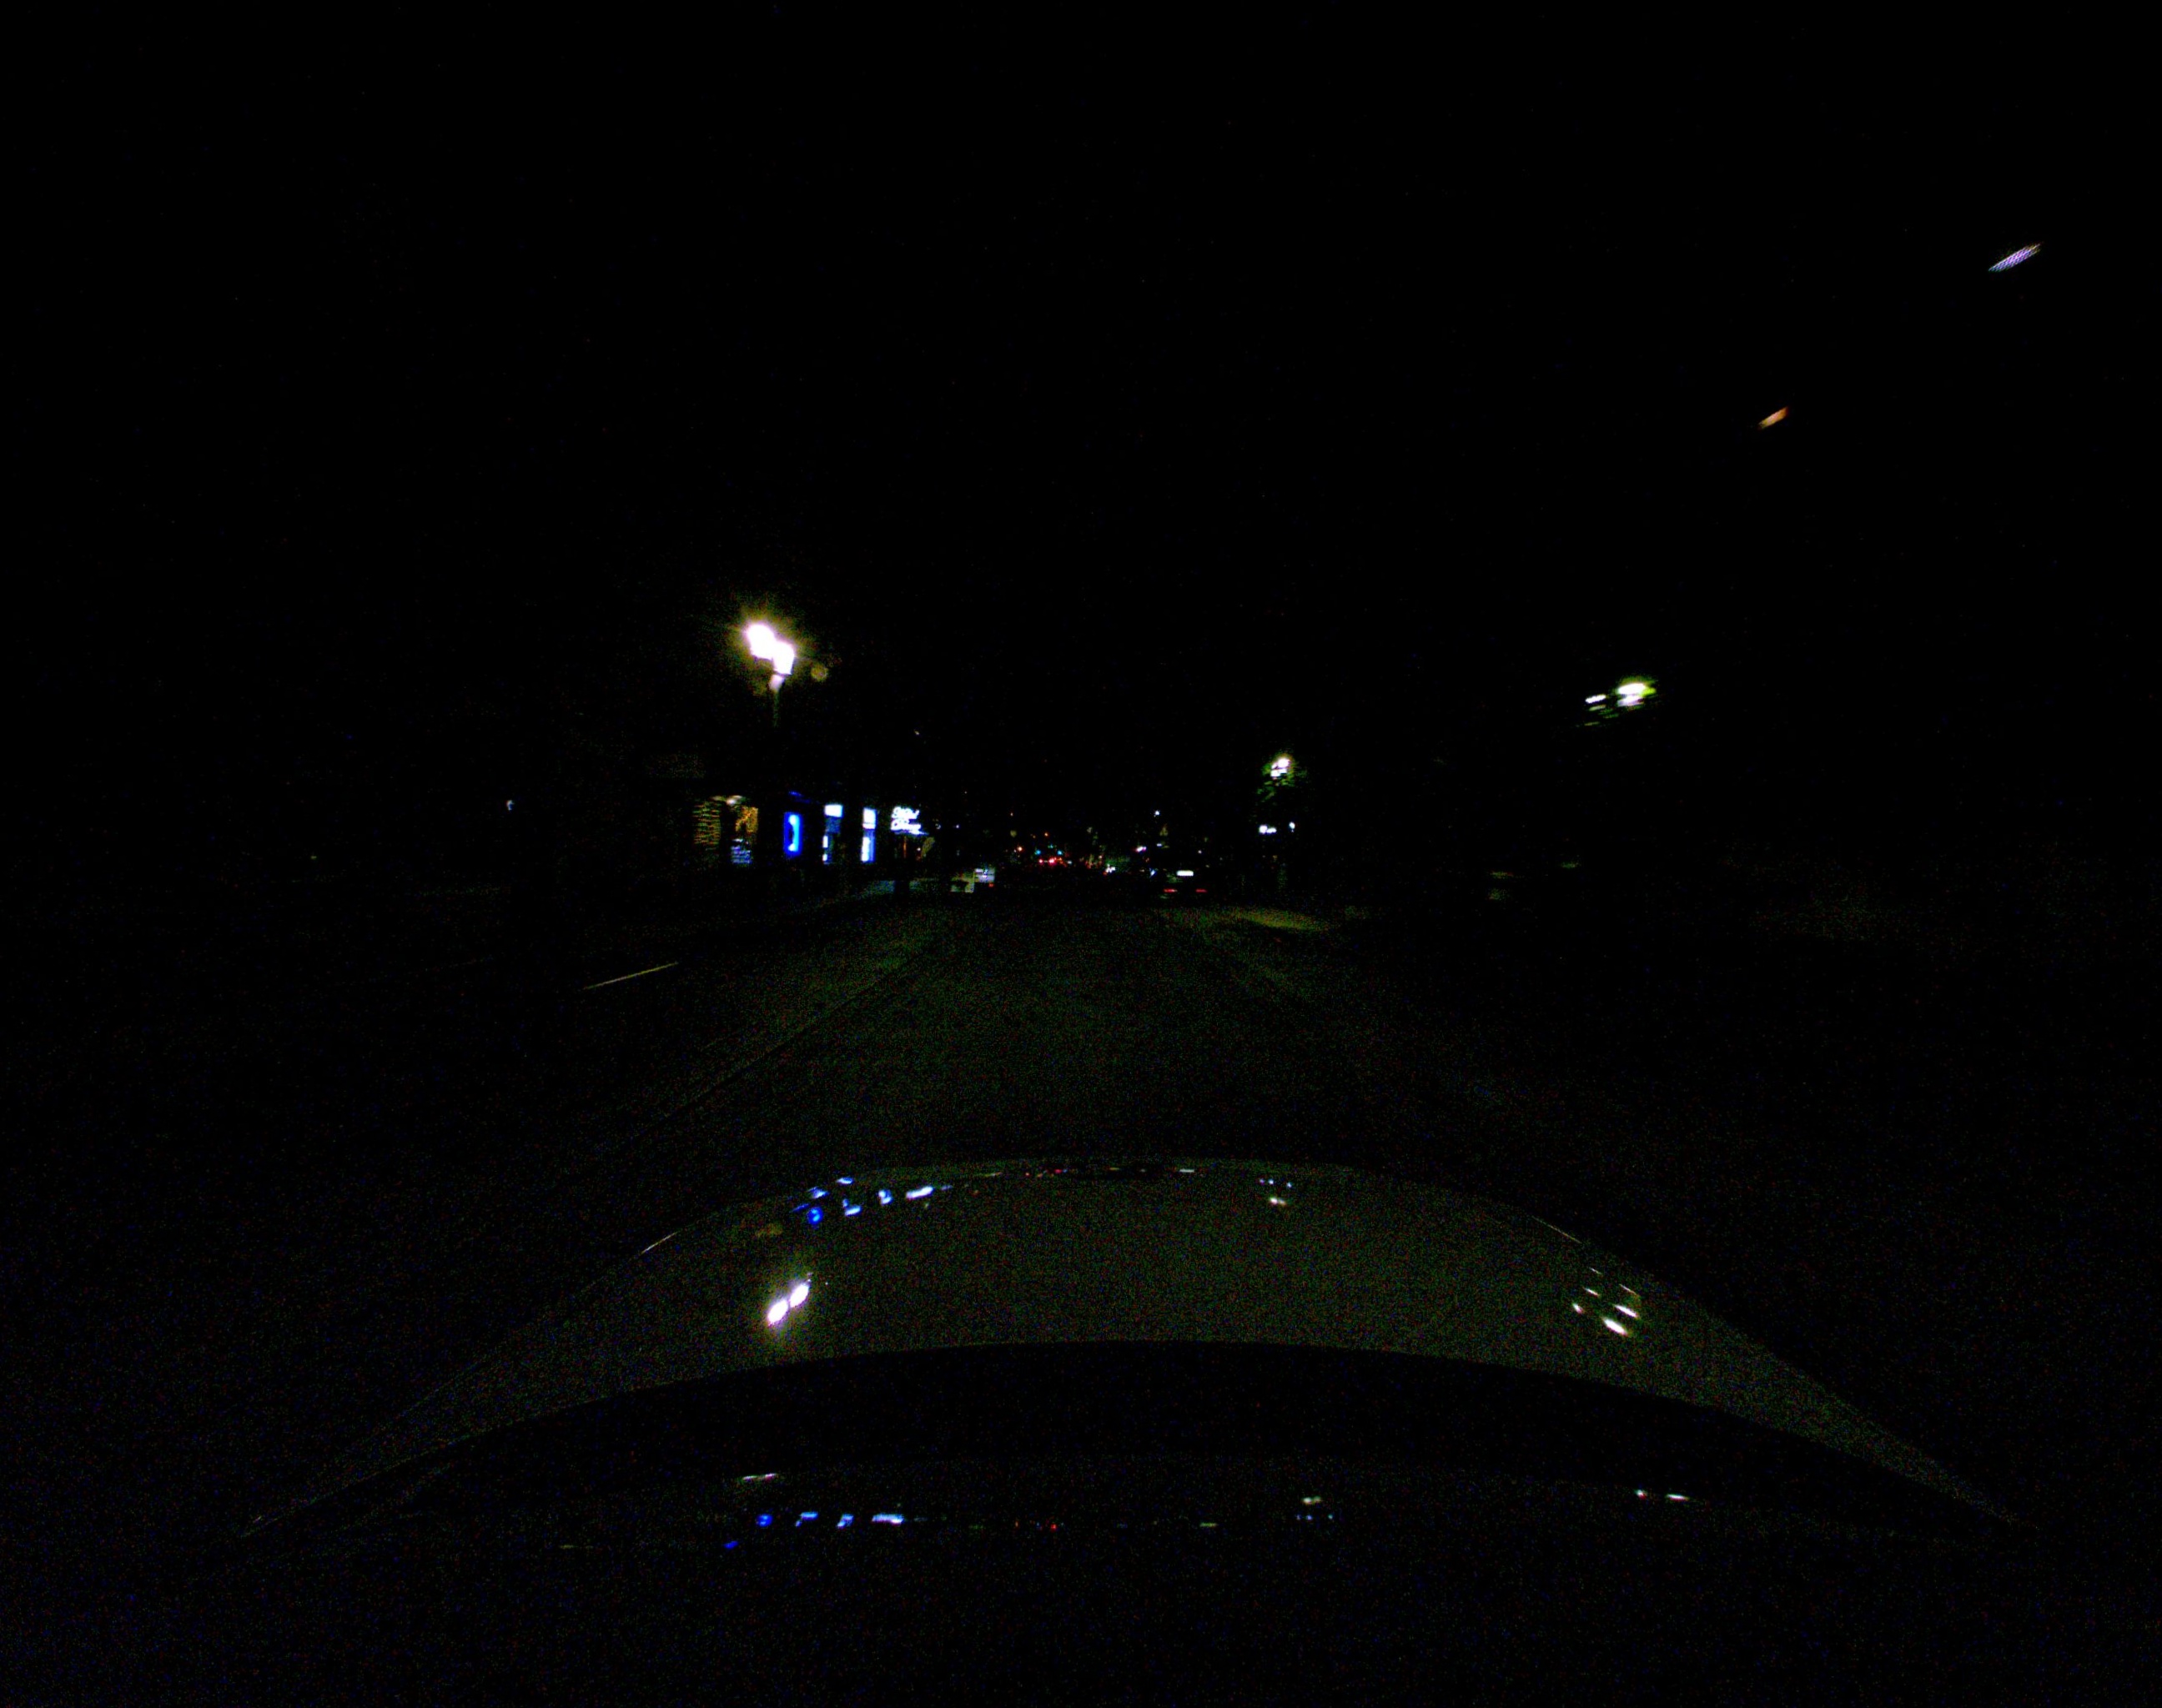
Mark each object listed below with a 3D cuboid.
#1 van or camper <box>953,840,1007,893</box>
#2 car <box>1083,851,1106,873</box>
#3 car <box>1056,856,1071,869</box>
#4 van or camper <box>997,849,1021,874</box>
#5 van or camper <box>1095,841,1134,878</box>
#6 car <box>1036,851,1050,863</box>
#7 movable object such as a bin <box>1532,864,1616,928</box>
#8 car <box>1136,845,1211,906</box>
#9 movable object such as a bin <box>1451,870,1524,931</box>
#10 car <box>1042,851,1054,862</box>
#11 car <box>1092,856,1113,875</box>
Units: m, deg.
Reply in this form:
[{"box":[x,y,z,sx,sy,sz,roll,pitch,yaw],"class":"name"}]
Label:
[{"box":[-4.143,0.486,33.897,1.862,2.011,4.257,3,0,-3],"class":"van or camper"},{"box":[1.168,0.698,71.661,1.834,1.901,3.843,1,0,-2],"class":"car"},{"box":[-2.161,0.975,99.452,1.834,1.542,3.843,1,0,-2],"class":"car"},{"box":[-6.072,0.634,68.391,1.933,1.989,3.837,1,0,-6],"class":"van or camper"},{"box":[2.119,0.366,53.009,2.104,2.317,4.257,0,0,-3],"class":"van or camper"},{"box":[-5.715,0.429,121.622,1.989,1.823,3.996,1,0,-3],"class":"car"},{"box":[11.309,0.944,18.728,1.257,1.419,1.117,0,-1,-2],"class":"movable object such as a bin"},{"box":[2.965,0.653,26.958,1.810,1.828,4.343,1,0,-3],"class":"car"},{"box":[9.260,1.045,18.586,1.102,1.307,1.009,2,-1,-4],"class":"movable object such as a bin"},{"box":[-5.777,0.461,143.079,1.989,1.823,3.995,1,0,-3],"class":"car"},{"box":[1.716,0.905,65.894,1.527,1.418,3.843,1,0,-2],"class":"car"}]
